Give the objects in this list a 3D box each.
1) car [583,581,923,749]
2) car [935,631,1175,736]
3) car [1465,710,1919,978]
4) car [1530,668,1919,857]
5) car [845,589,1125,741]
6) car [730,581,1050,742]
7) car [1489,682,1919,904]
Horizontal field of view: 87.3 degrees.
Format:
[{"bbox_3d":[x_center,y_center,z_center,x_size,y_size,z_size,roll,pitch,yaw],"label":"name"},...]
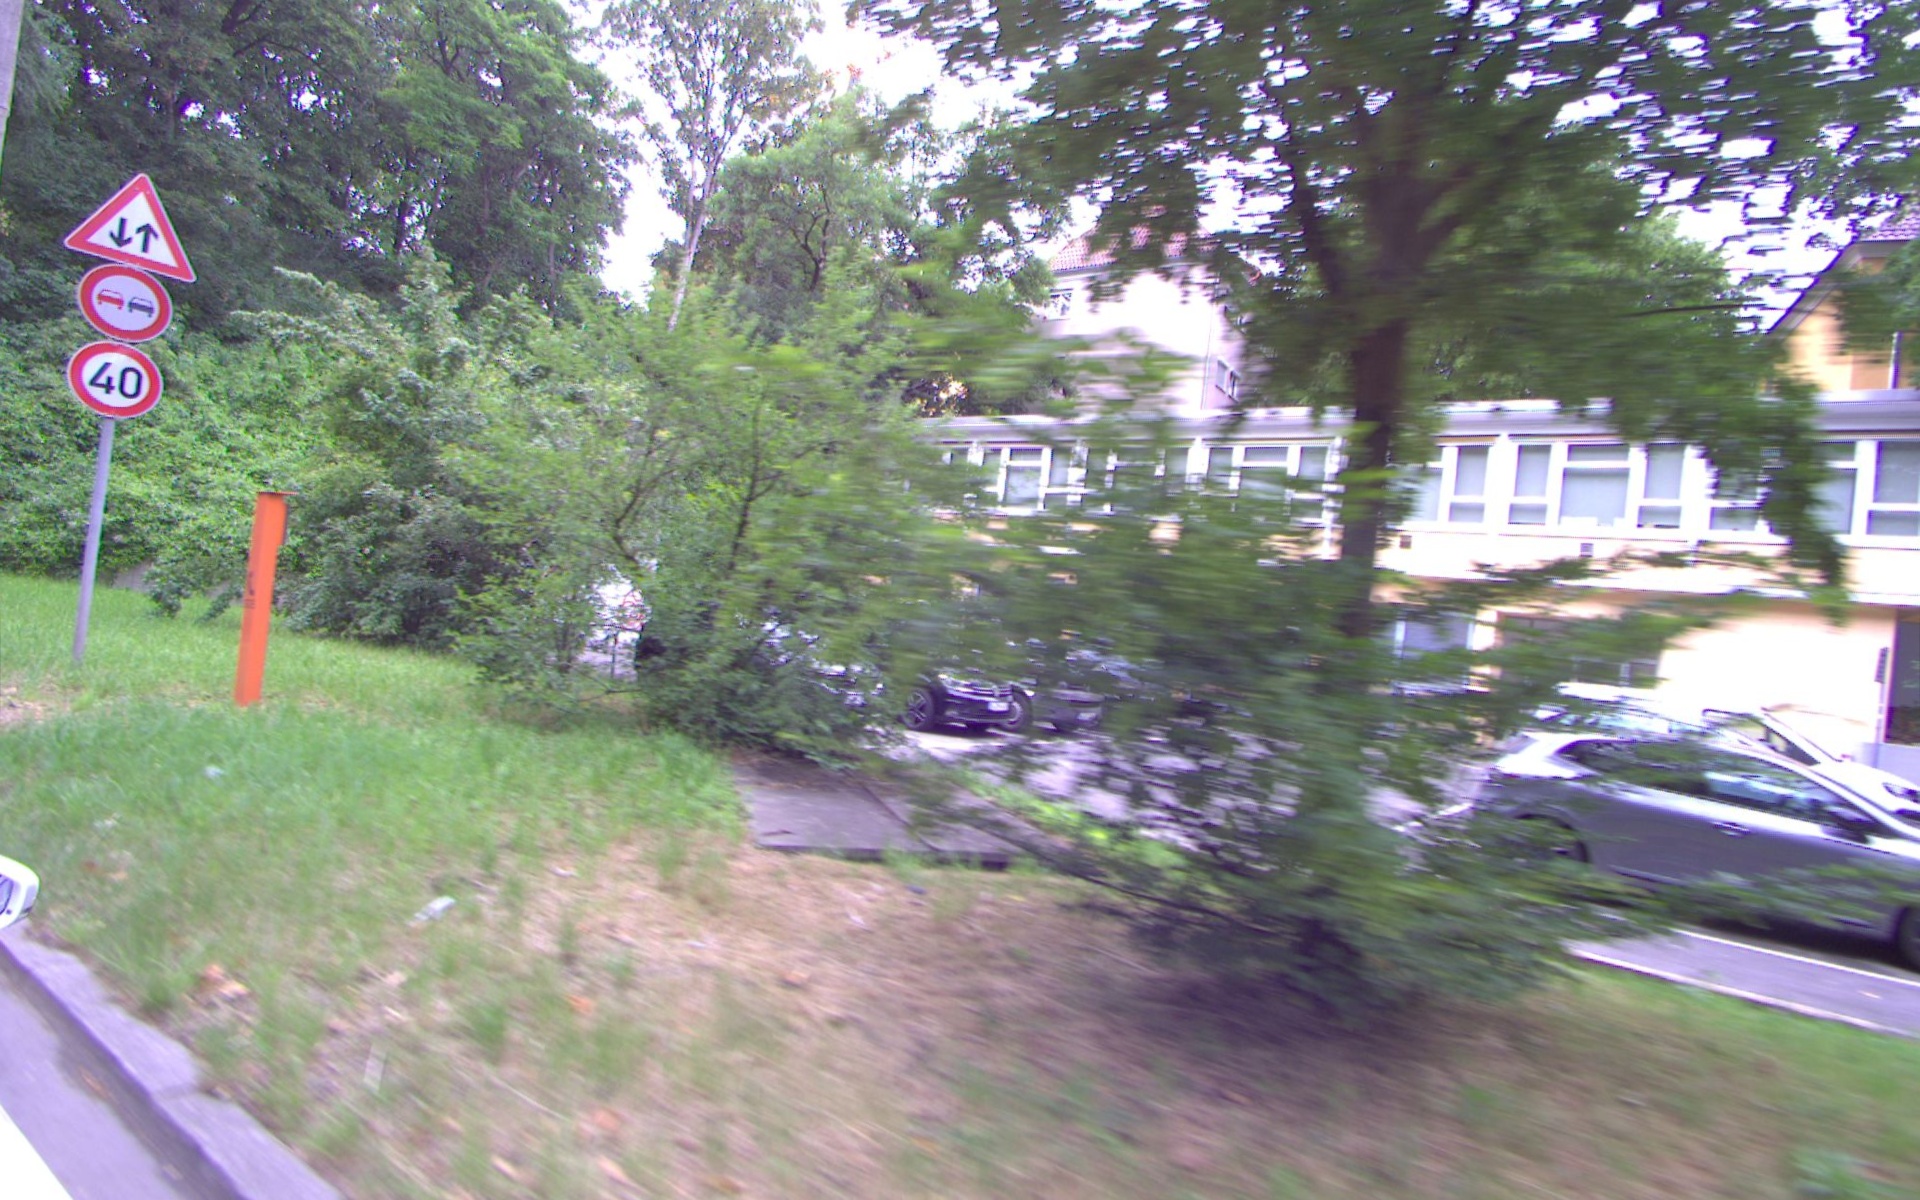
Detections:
[{"bbox_3d":[-3.040,0.809,14.247,4.808,1.687,1.809,6,1,35],"label":"car"},{"bbox_3d":[1.798,1.597,19.708,4.259,1.442,1.797,6,-2,36],"label":"car"},{"bbox_3d":[6.465,1.903,8.267,3.837,1.459,1.745,6,-1,35],"label":"car"},{"bbox_3d":[10.401,2.083,13.677,4.182,1.460,1.805,11,2,41],"label":"car"},{"bbox_3d":[0.364,1.091,17.701,4.492,2.038,1.857,6,-2,36],"label":"car"},{"bbox_3d":[-1.210,0.913,16.025,4.808,1.901,1.858,6,-2,35],"label":"car"},{"bbox_3d":[8.778,2.113,11.951,3.948,1.460,1.805,11,2,41],"label":"car"}]
